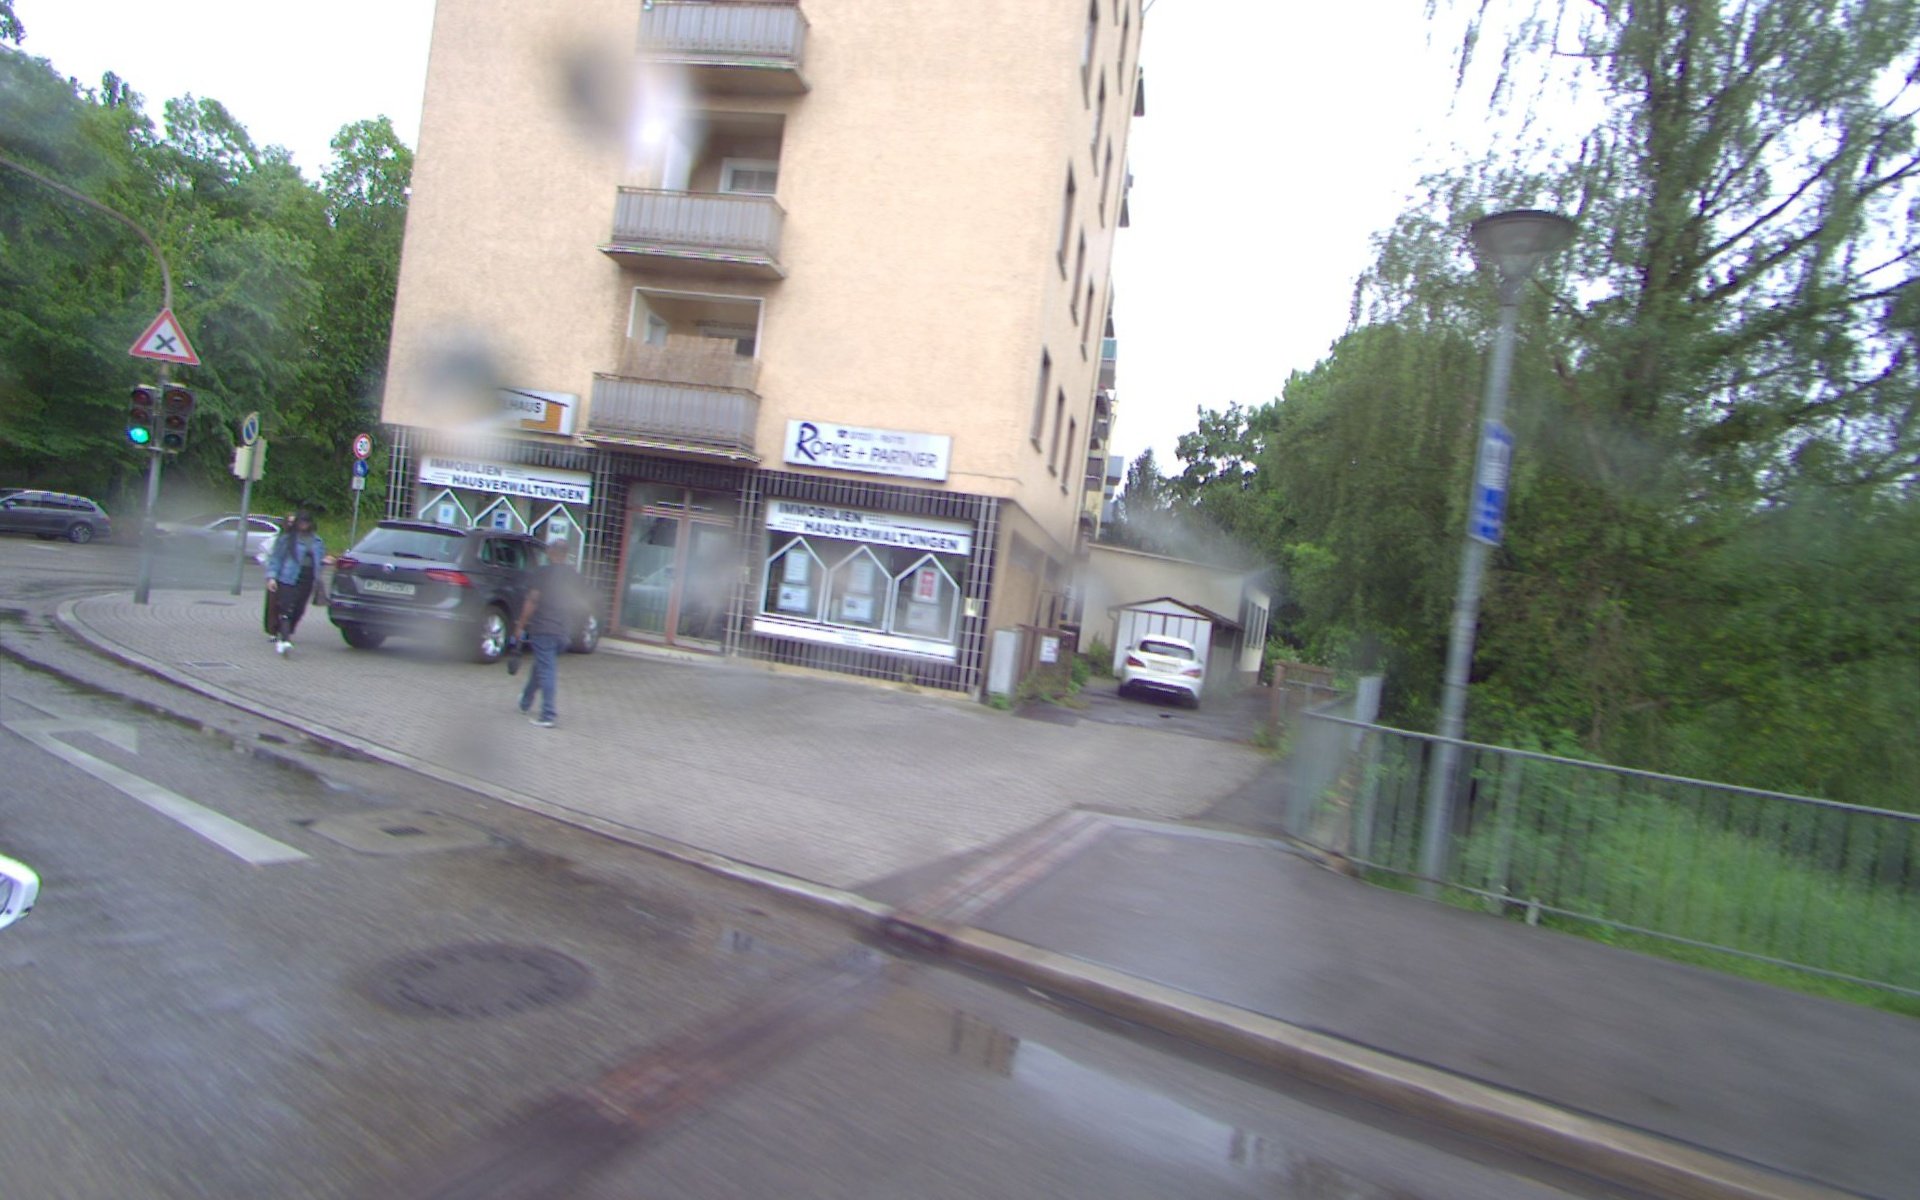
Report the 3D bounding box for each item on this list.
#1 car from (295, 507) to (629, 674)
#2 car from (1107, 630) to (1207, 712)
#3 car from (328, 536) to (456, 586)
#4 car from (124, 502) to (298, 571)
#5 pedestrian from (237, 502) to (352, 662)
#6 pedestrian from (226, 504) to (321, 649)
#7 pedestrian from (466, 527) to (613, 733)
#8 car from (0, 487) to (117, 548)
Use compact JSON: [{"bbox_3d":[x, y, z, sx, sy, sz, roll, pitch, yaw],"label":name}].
[{"bbox_3d":[-6.338,-0.090,13.499,1.848,1.669,4.381,7,0,5],"label":"car"},{"bbox_3d":[4.584,1.546,22.884,1.783,1.392,4.456,10,0,15],"label":"car"},{"bbox_3d":[-22.101,-1.485,39.327,1.775,1.386,4.158,7,-1,17],"label":"car"},{"bbox_3d":[-24.126,-1.988,32.595,1.775,1.580,4.158,7,-1,17],"label":"car"},{"bbox_3d":[-7.241,-0.190,10.950,0.782,1.621,0.658,7,2,28],"label":"pedestrian"},{"bbox_3d":[-8.147,-0.283,11.931,0.757,1.595,0.772,5,3,-39],"label":"pedestrian"},{"bbox_3d":[-3.761,0.261,9.017,0.768,1.699,0.761,8,3,31],"label":"pedestrian"},{"bbox_3d":[-28.580,-2.598,30.388,1.848,1.521,4.338,7,0,20],"label":"car"}]
